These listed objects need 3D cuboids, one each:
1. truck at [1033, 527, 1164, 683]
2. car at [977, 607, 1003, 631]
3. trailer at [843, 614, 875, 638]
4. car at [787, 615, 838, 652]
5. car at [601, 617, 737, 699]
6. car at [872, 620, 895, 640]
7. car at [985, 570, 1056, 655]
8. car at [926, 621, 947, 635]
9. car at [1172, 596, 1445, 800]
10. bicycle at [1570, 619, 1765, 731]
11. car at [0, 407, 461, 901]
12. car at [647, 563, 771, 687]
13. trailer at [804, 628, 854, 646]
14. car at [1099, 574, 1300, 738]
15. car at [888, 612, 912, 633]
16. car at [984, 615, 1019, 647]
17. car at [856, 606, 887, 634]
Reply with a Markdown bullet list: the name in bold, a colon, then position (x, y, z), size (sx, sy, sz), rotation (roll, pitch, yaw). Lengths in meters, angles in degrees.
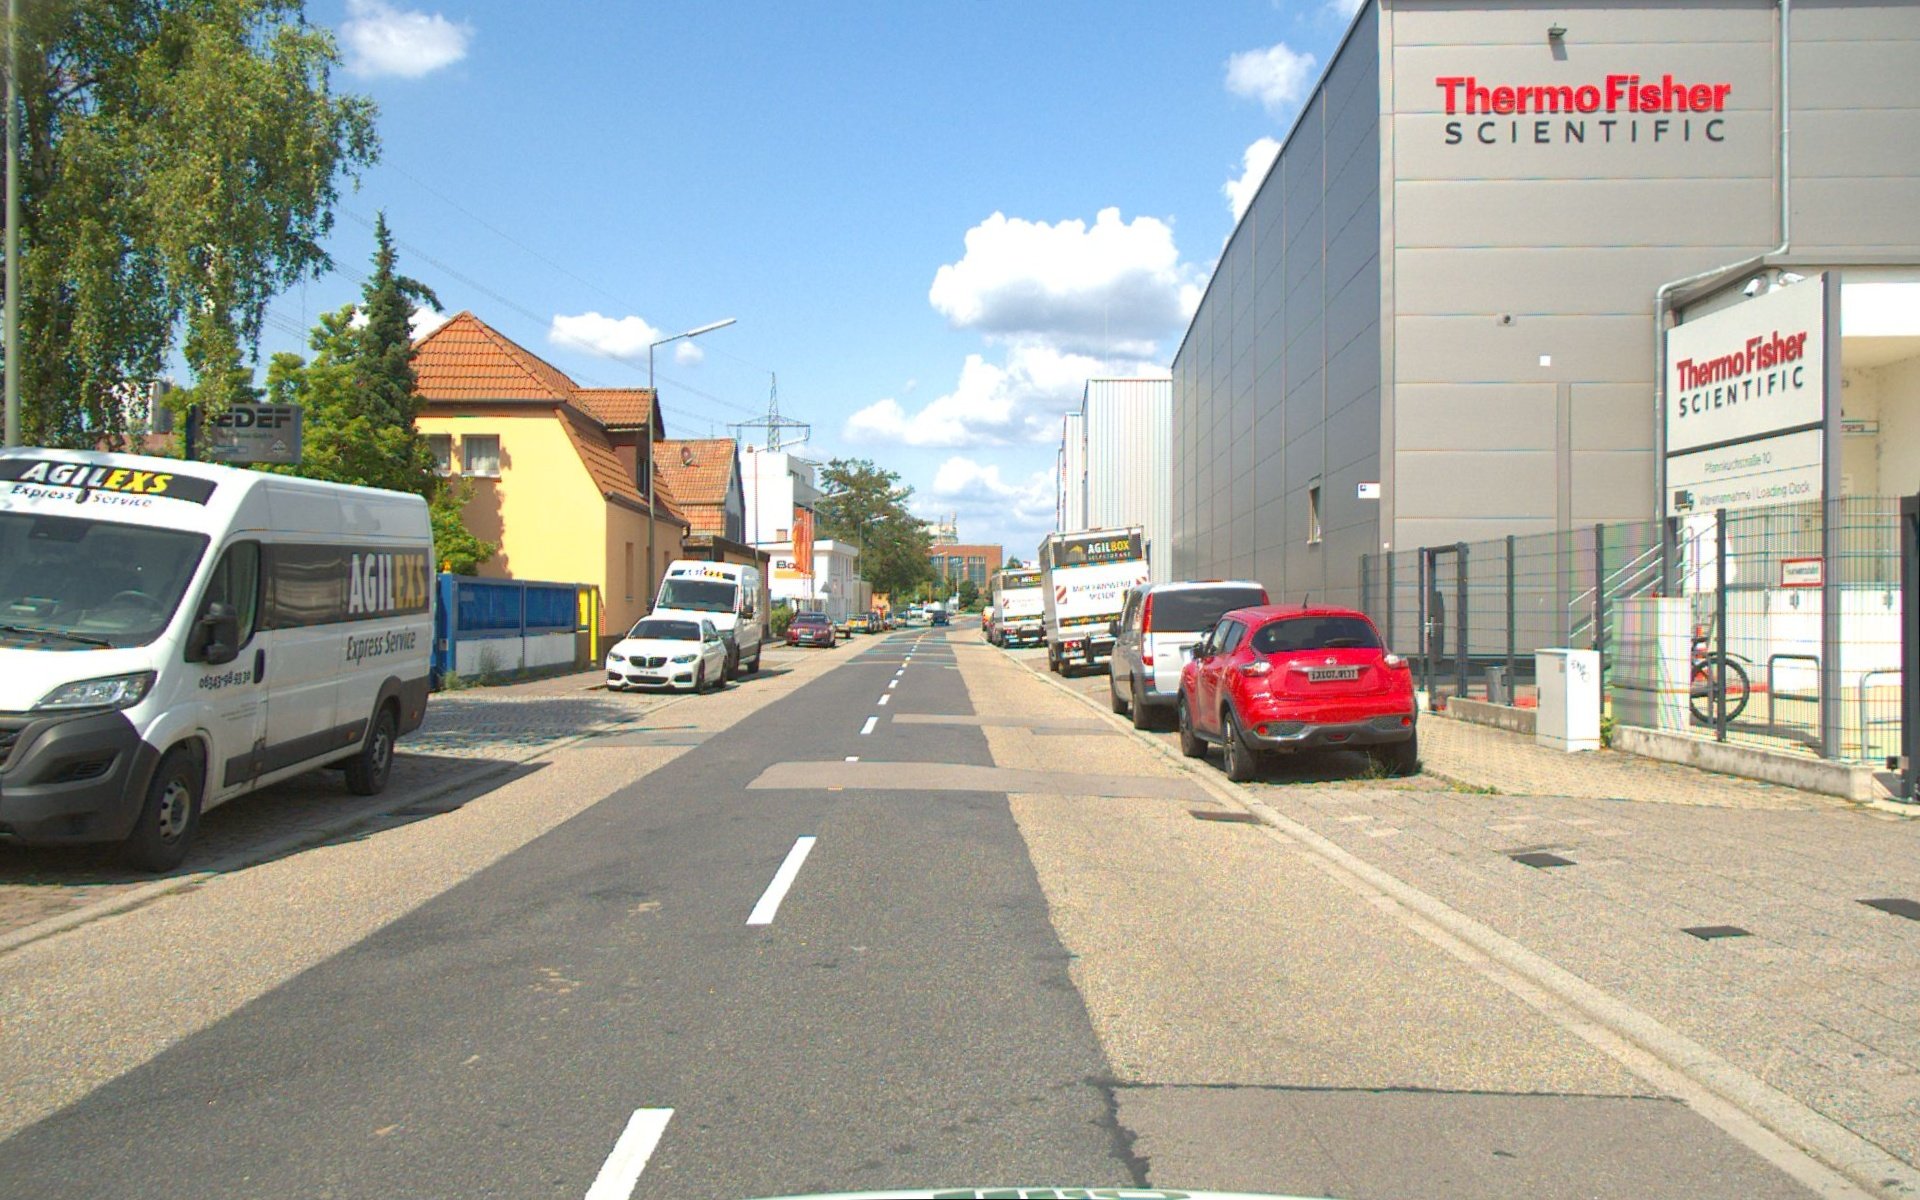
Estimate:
- **truck**: position (3.293, 0.154, 40.972), size (2.409, 3.350, 6.816), rotation (-5, -1, 0)
- **car**: position (2.316, 1.493, 126.267), size (1.899, 1.772, 4.377), rotation (0, -1, 2)
- **trailer**: position (-6.718, 1.737, 110.500), size (1.953, 1.584, 4.252), rotation (0, -1, -1)
- **car**: position (-6.255, 1.424, 70.691), size (1.726, 1.473, 4.740), rotation (2, -1, 0)
- **car**: position (-5.504, 1.073, 31.838), size (1.759, 1.422, 4.501), rotation (2, -1, 0)
- **car**: position (-6.080, 2.370, 131.543), size (1.634, 1.473, 3.453), rotation (2, -1, 0)
- **car**: position (2.570, 0.564, 72.166), size (2.341, 3.421, 6.639), rotation (-2, -1, -4)
- **car**: position (-2.314, 2.760, 161.352), size (1.878, 1.307, 3.615), rotation (-1, -1, 1)
- **car**: position (3.297, 0.847, 16.435), size (1.670, 1.652, 4.091), rotation (-3, 0, -2)
- **bicycle**: position (7.790, 0.816, 18.248), size (1.909, 1.163, 0.457), rotation (-2, -1, 1)
- **car**: position (-5.576, 0.317, 12.097), size (1.989, 2.602, 6.653), rotation (2, -1, -2)
- **car**: position (-5.781, 0.605, 38.983), size (1.986, 2.606, 6.837), rotation (2, -1, -2)
- **trailer**: position (-7.041, 1.991, 89.426), size (2.314, 0.908, 5.567), rotation (2, -1, -1)
- **car**: position (3.220, 0.727, 23.328), size (2.012, 1.936, 5.146), rotation (-4, -1, 0)
- **car**: position (-5.420, 2.052, 149.517), size (1.882, 1.825, 4.000), rotation (2, -1, 2)
- **car**: position (2.121, 1.583, 84.552), size (1.732, 1.640, 3.873), rotation (0, -1, 0)
- **car**: position (-6.744, 1.528, 126.039), size (1.952, 2.049, 4.000), rotation (2, -1, 2)
